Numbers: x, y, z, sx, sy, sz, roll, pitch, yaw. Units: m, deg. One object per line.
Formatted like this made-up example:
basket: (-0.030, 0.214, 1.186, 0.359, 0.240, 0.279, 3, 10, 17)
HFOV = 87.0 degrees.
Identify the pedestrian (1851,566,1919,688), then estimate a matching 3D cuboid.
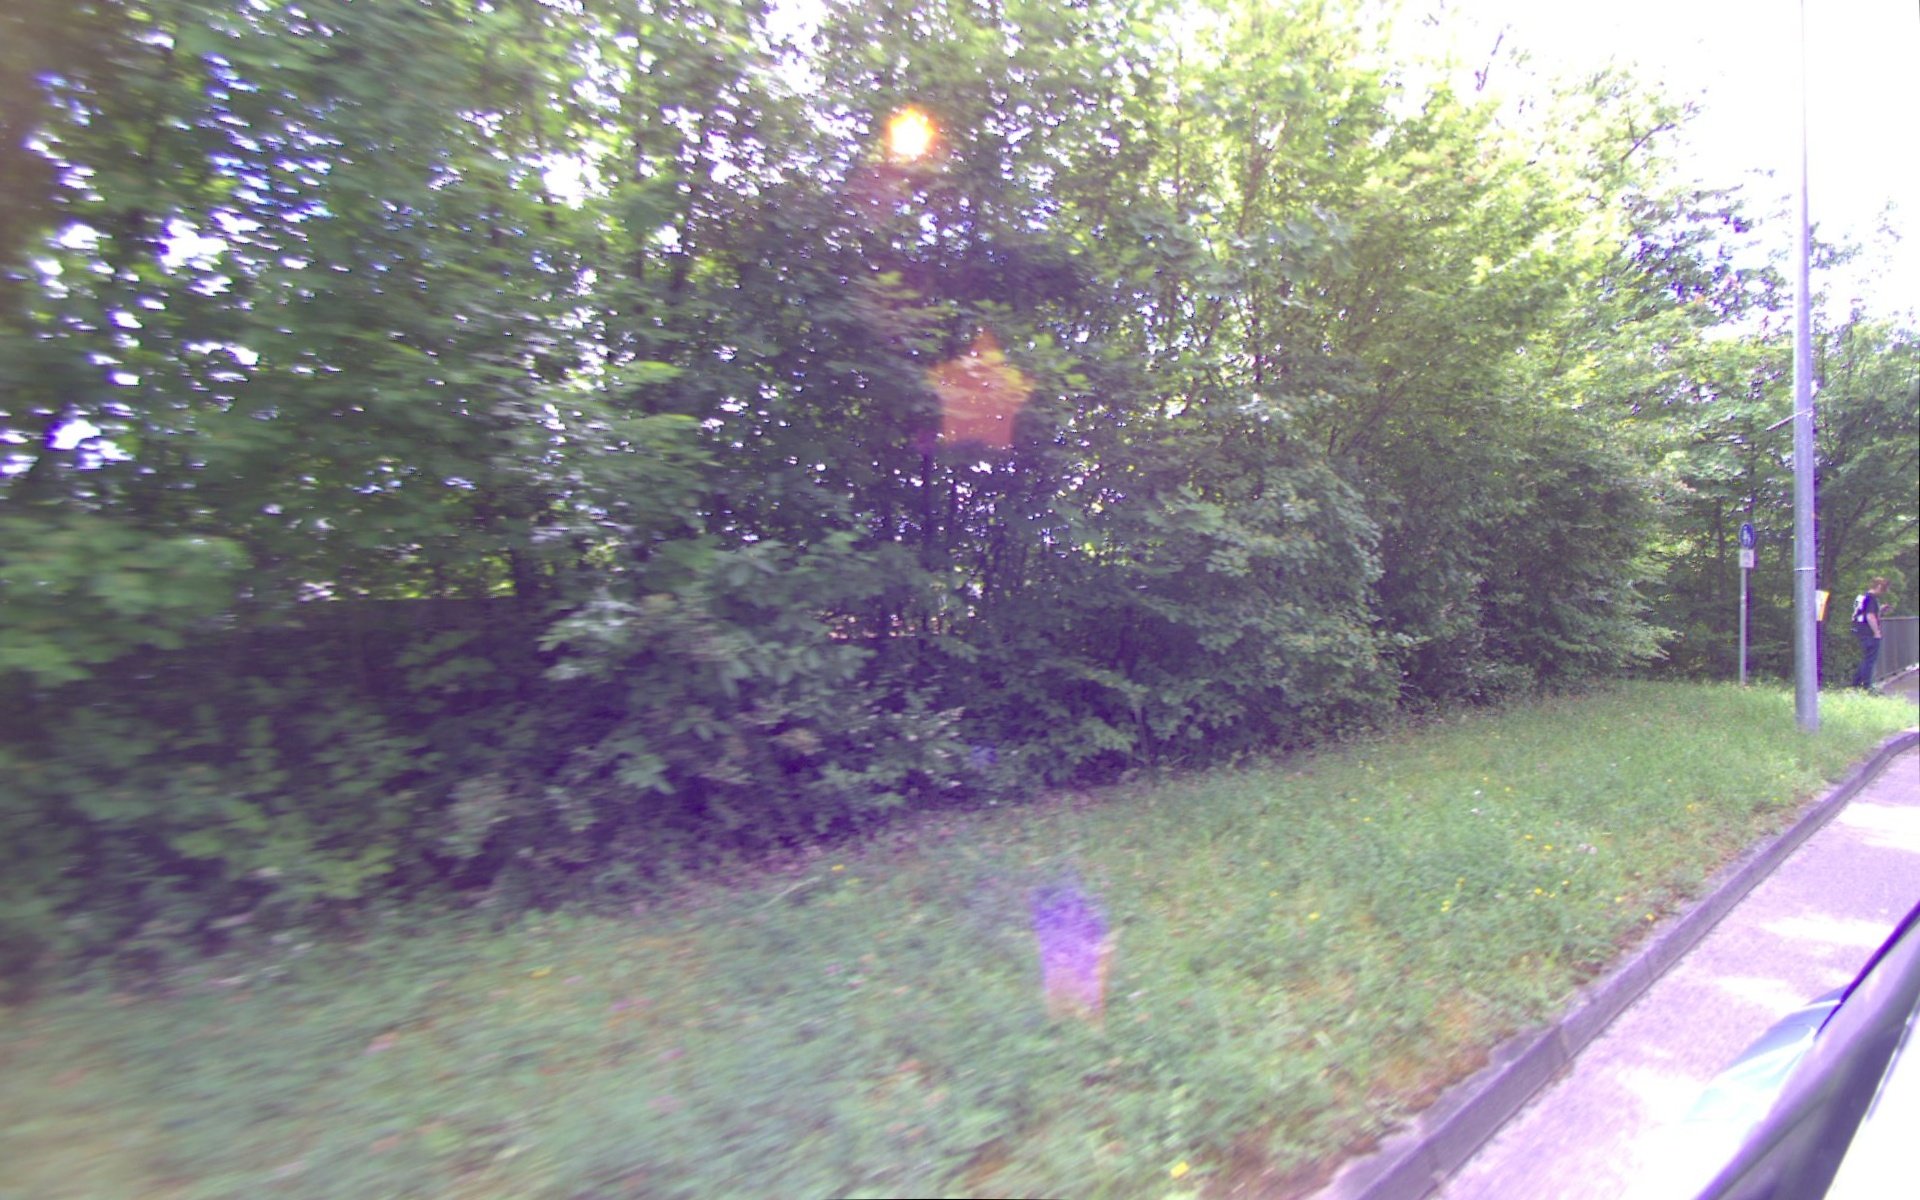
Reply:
pedestrian: (14.153, 0.395, 15.492, 0.677, 1.806, 0.582, 1, 0, 33)
